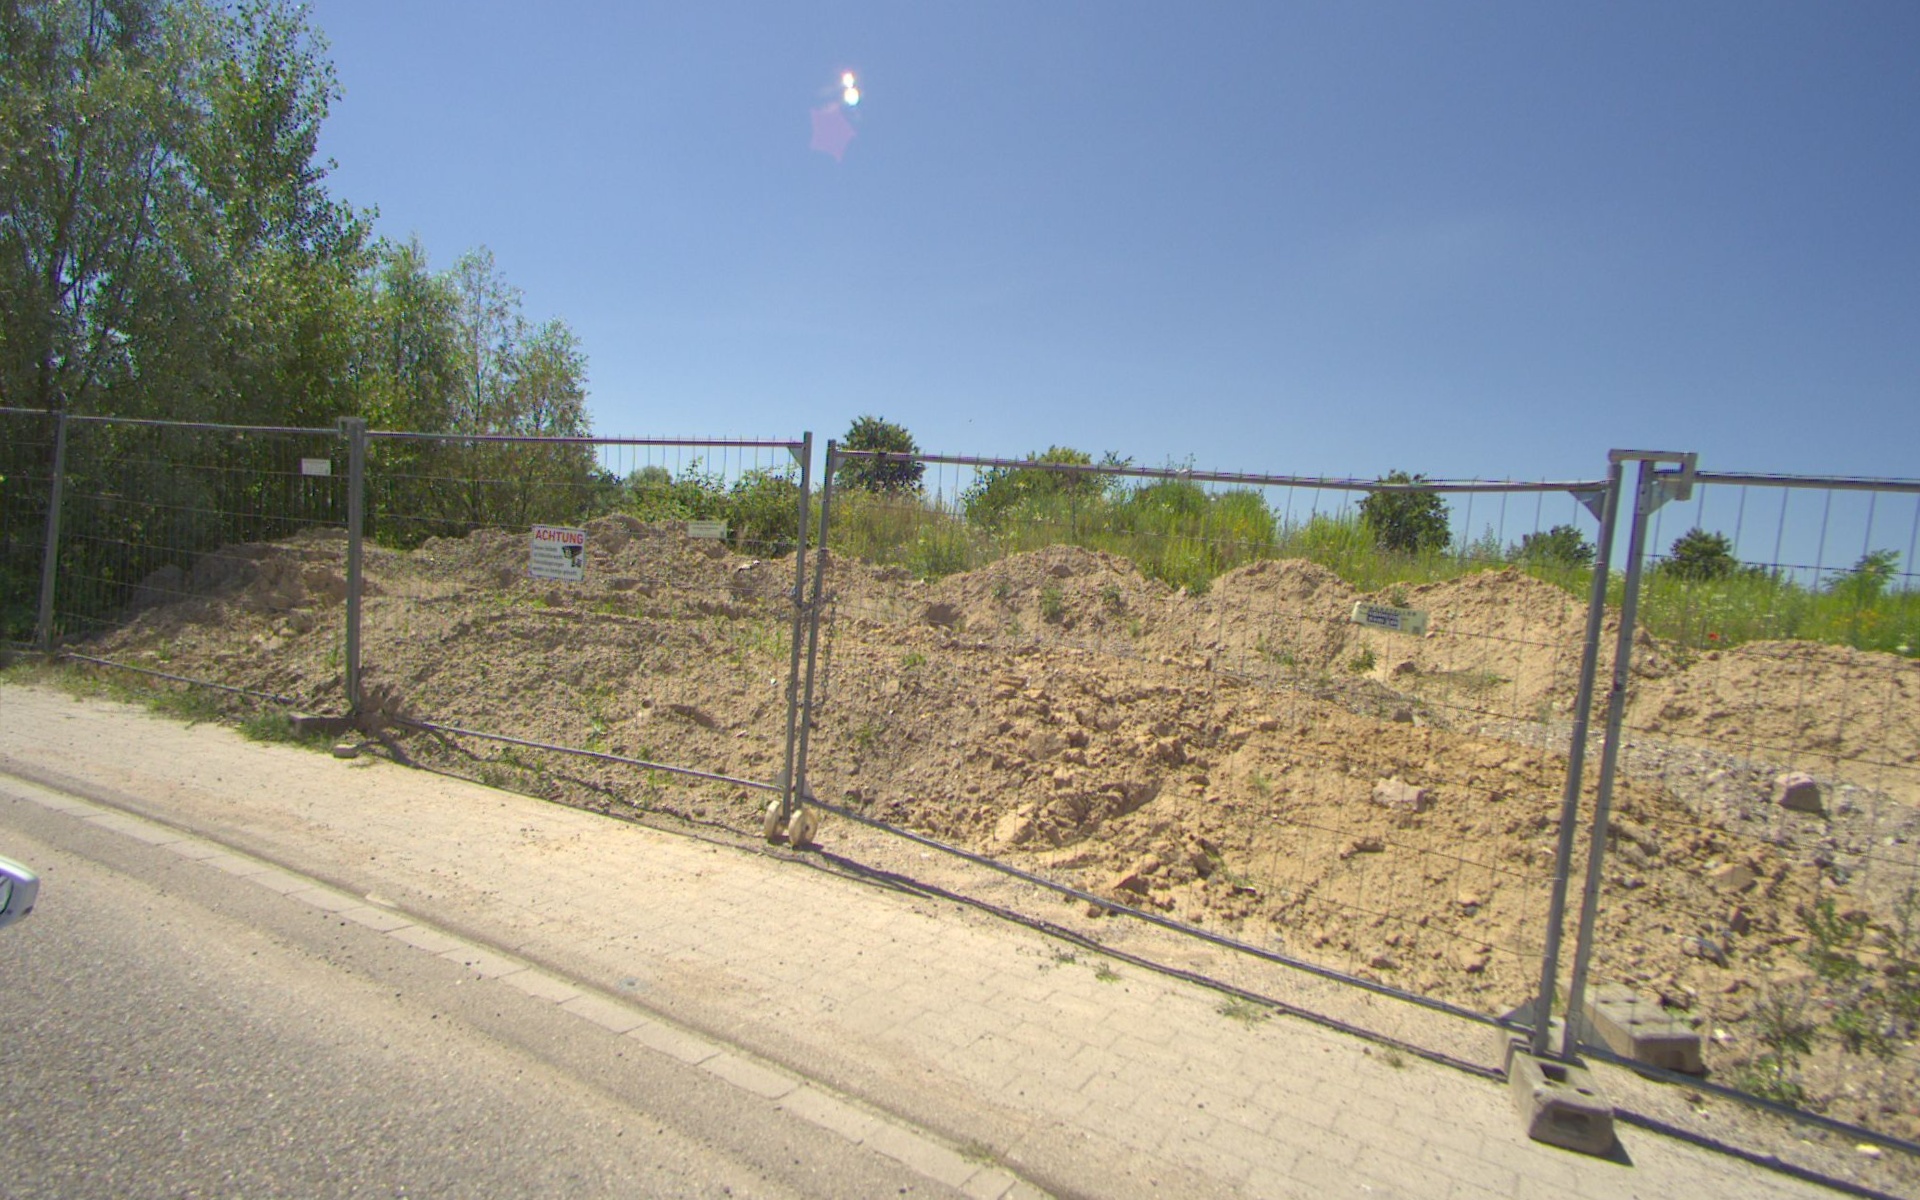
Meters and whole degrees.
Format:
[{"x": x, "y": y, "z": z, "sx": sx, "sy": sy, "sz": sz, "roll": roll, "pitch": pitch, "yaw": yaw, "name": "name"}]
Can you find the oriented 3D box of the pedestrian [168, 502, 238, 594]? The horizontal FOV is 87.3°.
[{"x": -16.439, "y": -1.117, "z": 21.861, "sx": 0.865, "sy": 1.848, "sz": 0.737, "roll": 7, "pitch": 1, "yaw": -16, "name": "pedestrian"}]
